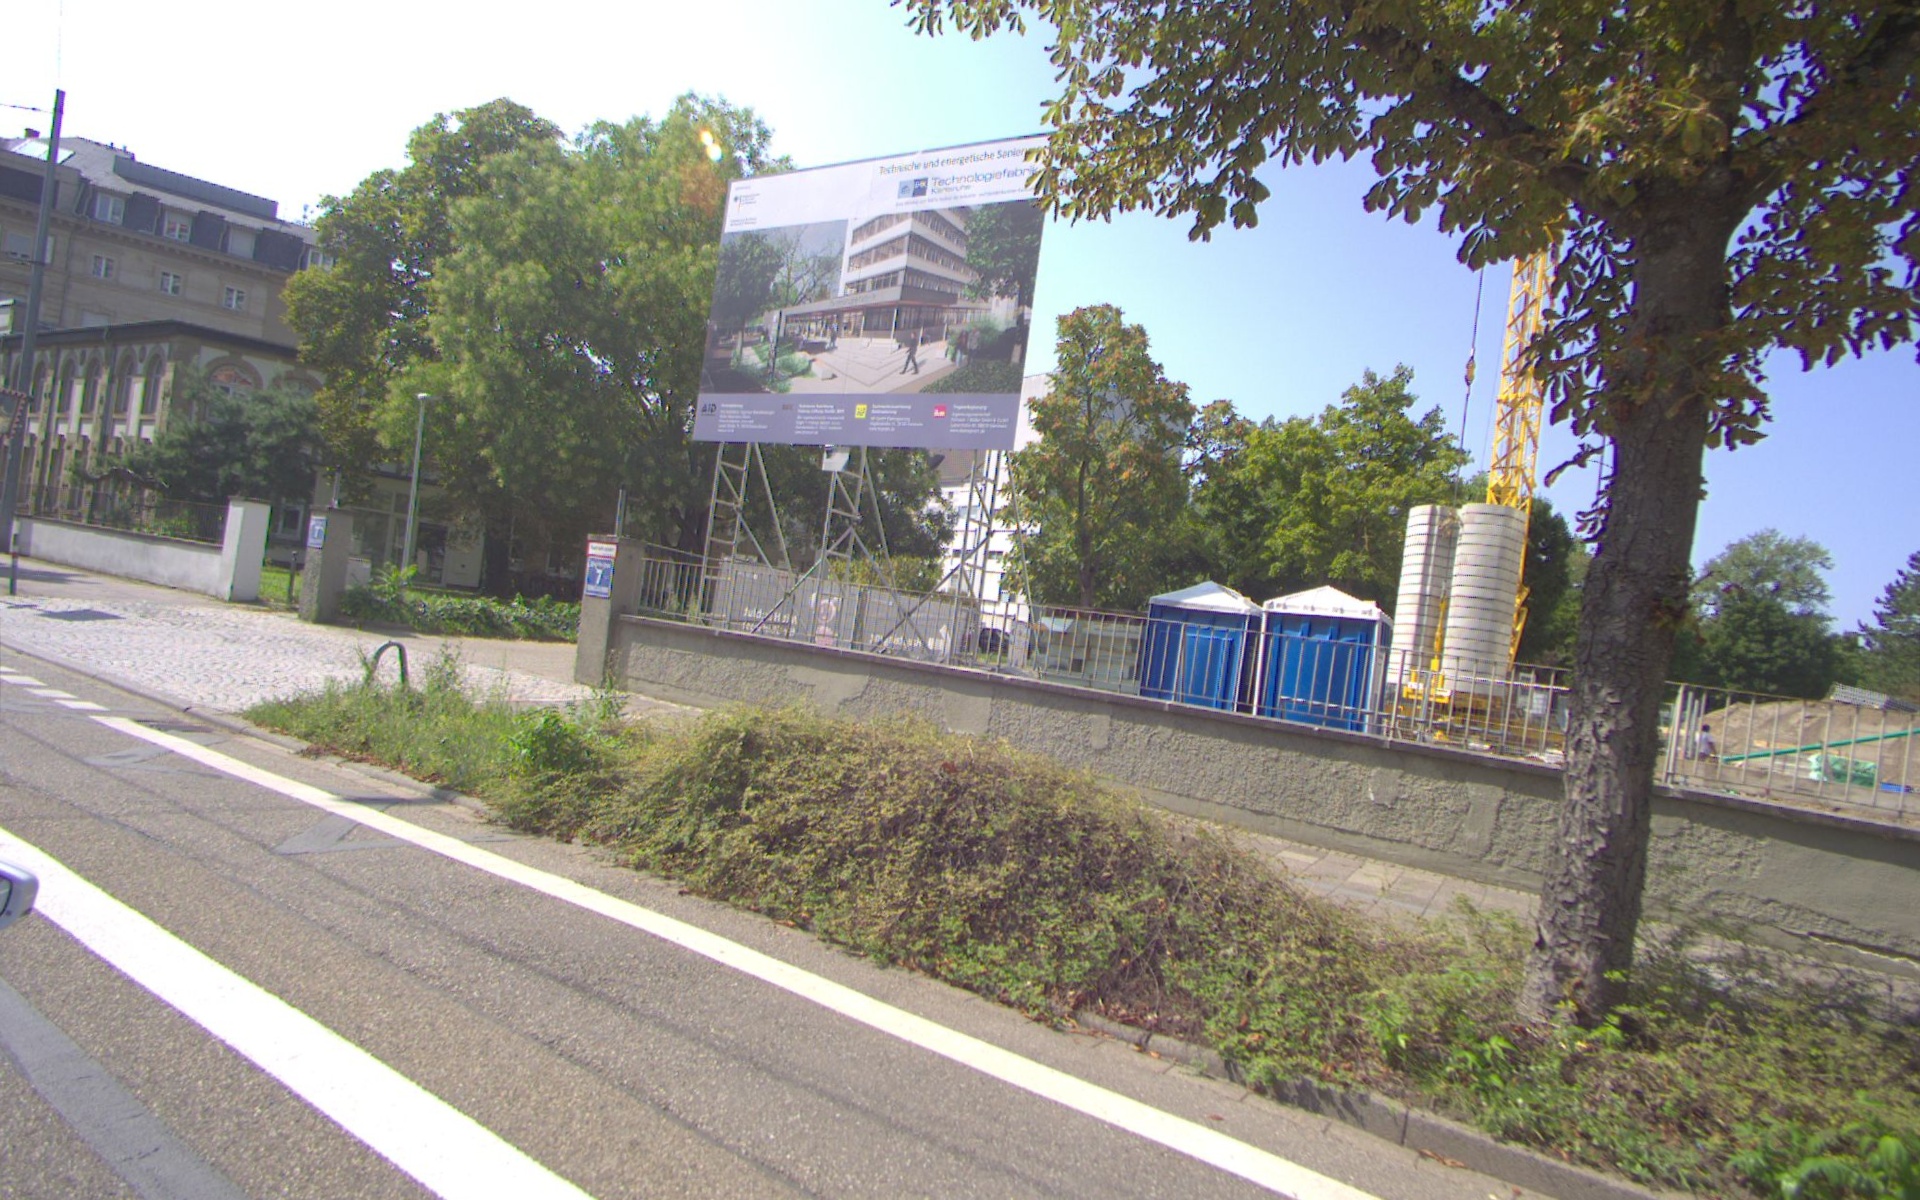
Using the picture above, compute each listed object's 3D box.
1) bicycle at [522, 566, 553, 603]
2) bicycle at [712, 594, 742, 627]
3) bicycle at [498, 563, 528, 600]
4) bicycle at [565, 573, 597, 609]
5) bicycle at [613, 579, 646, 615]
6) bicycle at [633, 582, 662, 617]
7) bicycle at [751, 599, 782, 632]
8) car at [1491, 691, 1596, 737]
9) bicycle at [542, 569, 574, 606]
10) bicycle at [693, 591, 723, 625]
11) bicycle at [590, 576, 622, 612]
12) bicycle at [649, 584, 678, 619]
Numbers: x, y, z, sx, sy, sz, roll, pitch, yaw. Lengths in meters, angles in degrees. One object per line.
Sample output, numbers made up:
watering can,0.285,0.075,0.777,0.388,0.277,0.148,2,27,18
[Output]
bicycle,-16.591,-0.614,39.445,0.763,1.317,2.509,8,-2,-28
bicycle,-10.200,0.451,43.958,0.602,1.317,2.159,8,-2,-28
bicycle,-17.414,-0.724,39.133,0.763,1.317,2.509,8,-2,-28
bicycle,-15.271,-0.395,40.525,0.763,1.317,2.509,8,-2,-28
bicycle,-13.743,-0.142,41.789,0.763,1.317,2.258,8,-2,-28
bicycle,-13.116,-0.042,42.237,0.620,1.317,2.258,8,-2,-28
bicycle,-8.664,0.673,44.974,0.602,1.317,2.159,8,-2,-28
car,27.528,5.367,47.606,1.853,1.545,3.897,8,-1,-19
bicycle,-15.981,-0.512,39.975,0.763,1.317,2.509,8,-2,-28
bicycle,-10.917,0.335,43.493,0.602,1.317,2.159,8,-2,-28
bicycle,-14.550,-0.265,41.294,0.763,1.317,2.509,8,-2,-28
bicycle,-12.573,0.047,42.593,0.602,1.317,2.159,8,-2,-28
